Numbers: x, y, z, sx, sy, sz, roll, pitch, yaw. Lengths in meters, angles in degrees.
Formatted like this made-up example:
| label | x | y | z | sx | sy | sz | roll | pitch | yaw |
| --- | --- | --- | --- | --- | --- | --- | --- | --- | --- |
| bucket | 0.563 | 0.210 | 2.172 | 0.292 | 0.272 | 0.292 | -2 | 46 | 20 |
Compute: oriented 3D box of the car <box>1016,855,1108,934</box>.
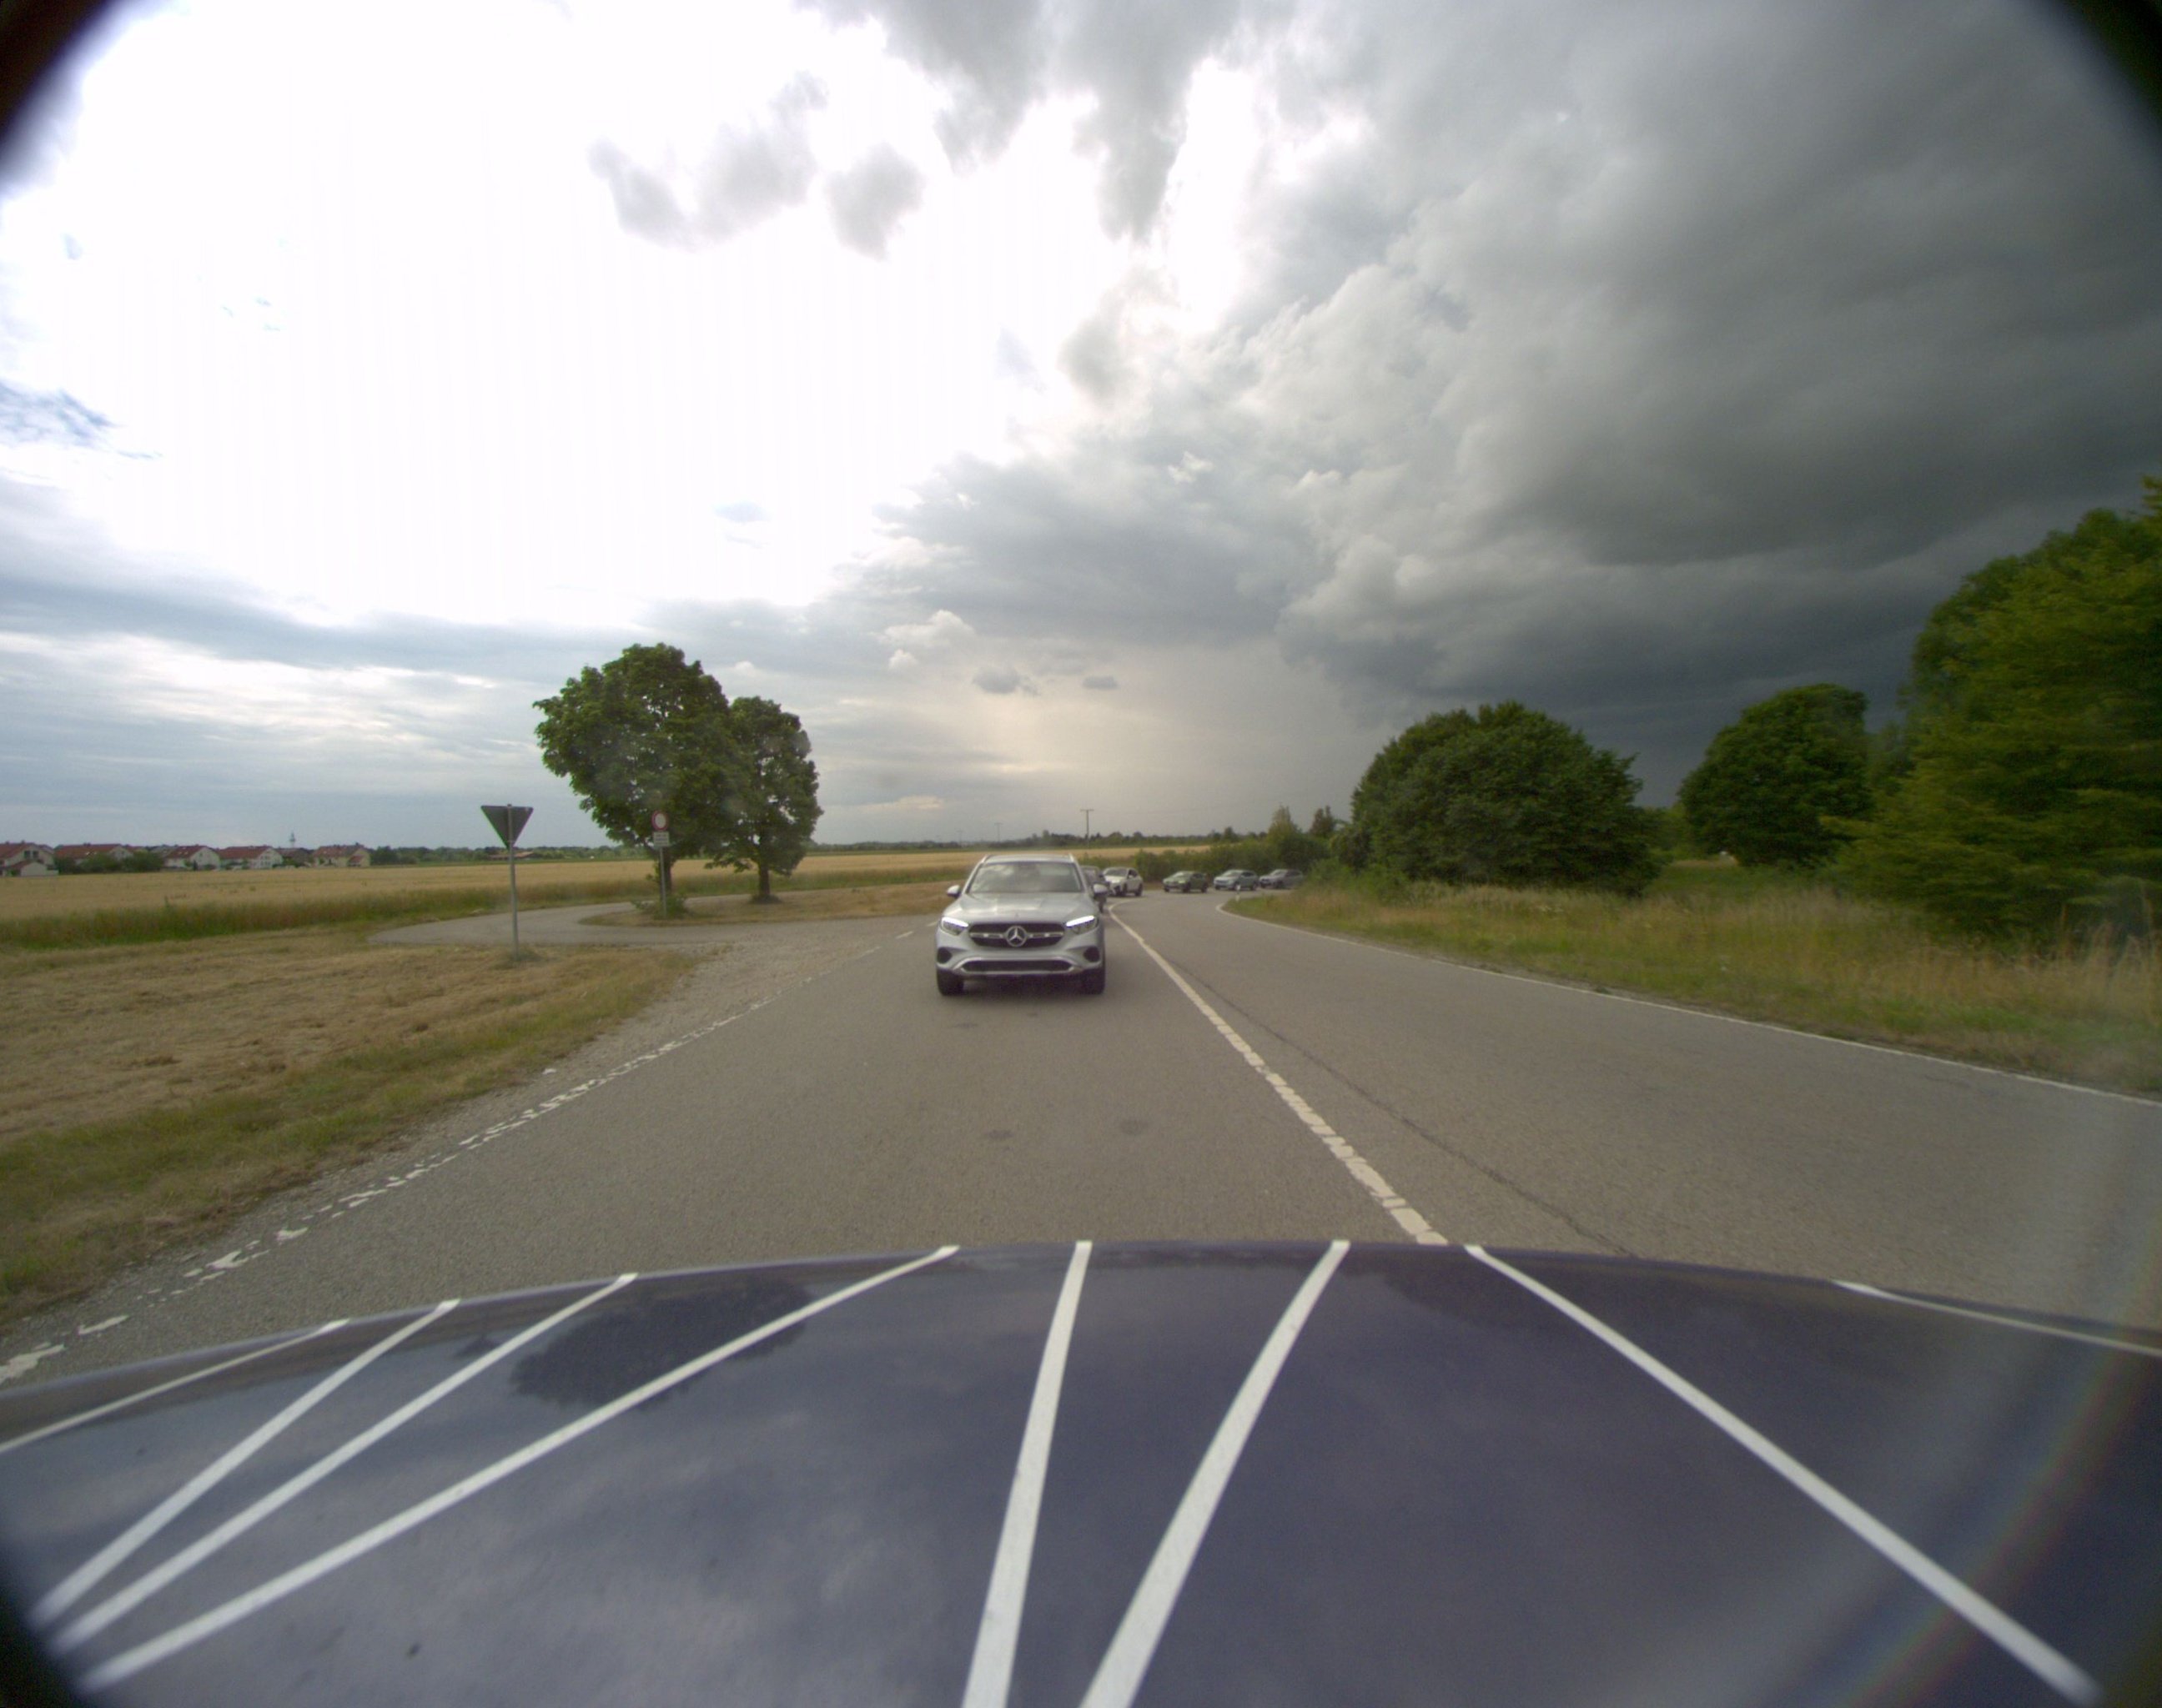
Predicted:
| label | x | y | z | sx | sy | sz | roll | pitch | yaw |
| --- | --- | --- | --- | --- | --- | --- | --- | --- | --- |
| car | -0.323 | 0.948 | 19.065 | 1.998 | 1.709 | 5.211 | 0 | -2 | 2 |

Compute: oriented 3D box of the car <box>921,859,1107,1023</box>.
| label | x | y | z | sx | sy | sz | roll | pitch | yaw |
| --- | --- | --- | --- | --- | --- | --- | --- | --- | --- |
| car | -0.696 | 0.892 | 9.875 | 1.836 | 1.577 | 4.449 | -1 | 0 | -1 |

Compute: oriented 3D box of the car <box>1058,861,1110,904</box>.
| label | x | y | z | sx | sy | sz | roll | pitch | yaw |
| --- | --- | --- | --- | --- | --- | --- | --- | --- | --- |
| car | 0.227 | 1.240 | 34.873 | 1.998 | 1.709 | 5.210 | 2 | 0 | 4 |

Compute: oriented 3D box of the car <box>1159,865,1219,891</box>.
| label | x | y | z | sx | sy | sz | roll | pitch | yaw |
| --- | --- | --- | --- | --- | --- | --- | --- | --- | --- |
| car | 7.845 | 1.670 | 54.640 | 1.994 | 1.709 | 5.220 | 2 | 0 | 36 |

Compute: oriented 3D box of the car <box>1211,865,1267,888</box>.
| label | x | y | z | sx | sy | sz | roll | pitch | yaw |
| --- | --- | --- | --- | --- | --- | --- | --- | --- | --- |
| car | 12.763 | 1.769 | 61.090 | 1.994 | 1.709 | 5.221 | 2 | 0 | 41 |

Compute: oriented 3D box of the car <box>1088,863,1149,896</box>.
| label | x | y | z | sx | sy | sz | roll | pitch | yaw |
| --- | --- | --- | --- | --- | --- | --- | --- | --- | --- |
| car | 2.293 | 1.447 | 44.570 | 1.995 | 1.709 | 5.217 | 2 | 0 | 21 |

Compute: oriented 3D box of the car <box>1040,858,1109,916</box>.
| label | x | y | z | sx | sy | sz | roll | pitch | yaw |
| --- | --- | --- | --- | --- | --- | --- | --- | --- | --- |
| car | -0.104 | 1.101 | 26.314 | 1.998 | 1.709 | 5.211 | 2 | -1 | 3 |

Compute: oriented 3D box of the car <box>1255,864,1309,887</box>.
| label | x | y | z | sx | sy | sz | roll | pitch | yaw |
| --- | --- | --- | --- | --- | --- | --- | --- | --- | --- |
| car | 17.539 | 1.809 | 66.165 | 5.219 | 1.710 | 1.994 | -1 | 3 | -43 |
